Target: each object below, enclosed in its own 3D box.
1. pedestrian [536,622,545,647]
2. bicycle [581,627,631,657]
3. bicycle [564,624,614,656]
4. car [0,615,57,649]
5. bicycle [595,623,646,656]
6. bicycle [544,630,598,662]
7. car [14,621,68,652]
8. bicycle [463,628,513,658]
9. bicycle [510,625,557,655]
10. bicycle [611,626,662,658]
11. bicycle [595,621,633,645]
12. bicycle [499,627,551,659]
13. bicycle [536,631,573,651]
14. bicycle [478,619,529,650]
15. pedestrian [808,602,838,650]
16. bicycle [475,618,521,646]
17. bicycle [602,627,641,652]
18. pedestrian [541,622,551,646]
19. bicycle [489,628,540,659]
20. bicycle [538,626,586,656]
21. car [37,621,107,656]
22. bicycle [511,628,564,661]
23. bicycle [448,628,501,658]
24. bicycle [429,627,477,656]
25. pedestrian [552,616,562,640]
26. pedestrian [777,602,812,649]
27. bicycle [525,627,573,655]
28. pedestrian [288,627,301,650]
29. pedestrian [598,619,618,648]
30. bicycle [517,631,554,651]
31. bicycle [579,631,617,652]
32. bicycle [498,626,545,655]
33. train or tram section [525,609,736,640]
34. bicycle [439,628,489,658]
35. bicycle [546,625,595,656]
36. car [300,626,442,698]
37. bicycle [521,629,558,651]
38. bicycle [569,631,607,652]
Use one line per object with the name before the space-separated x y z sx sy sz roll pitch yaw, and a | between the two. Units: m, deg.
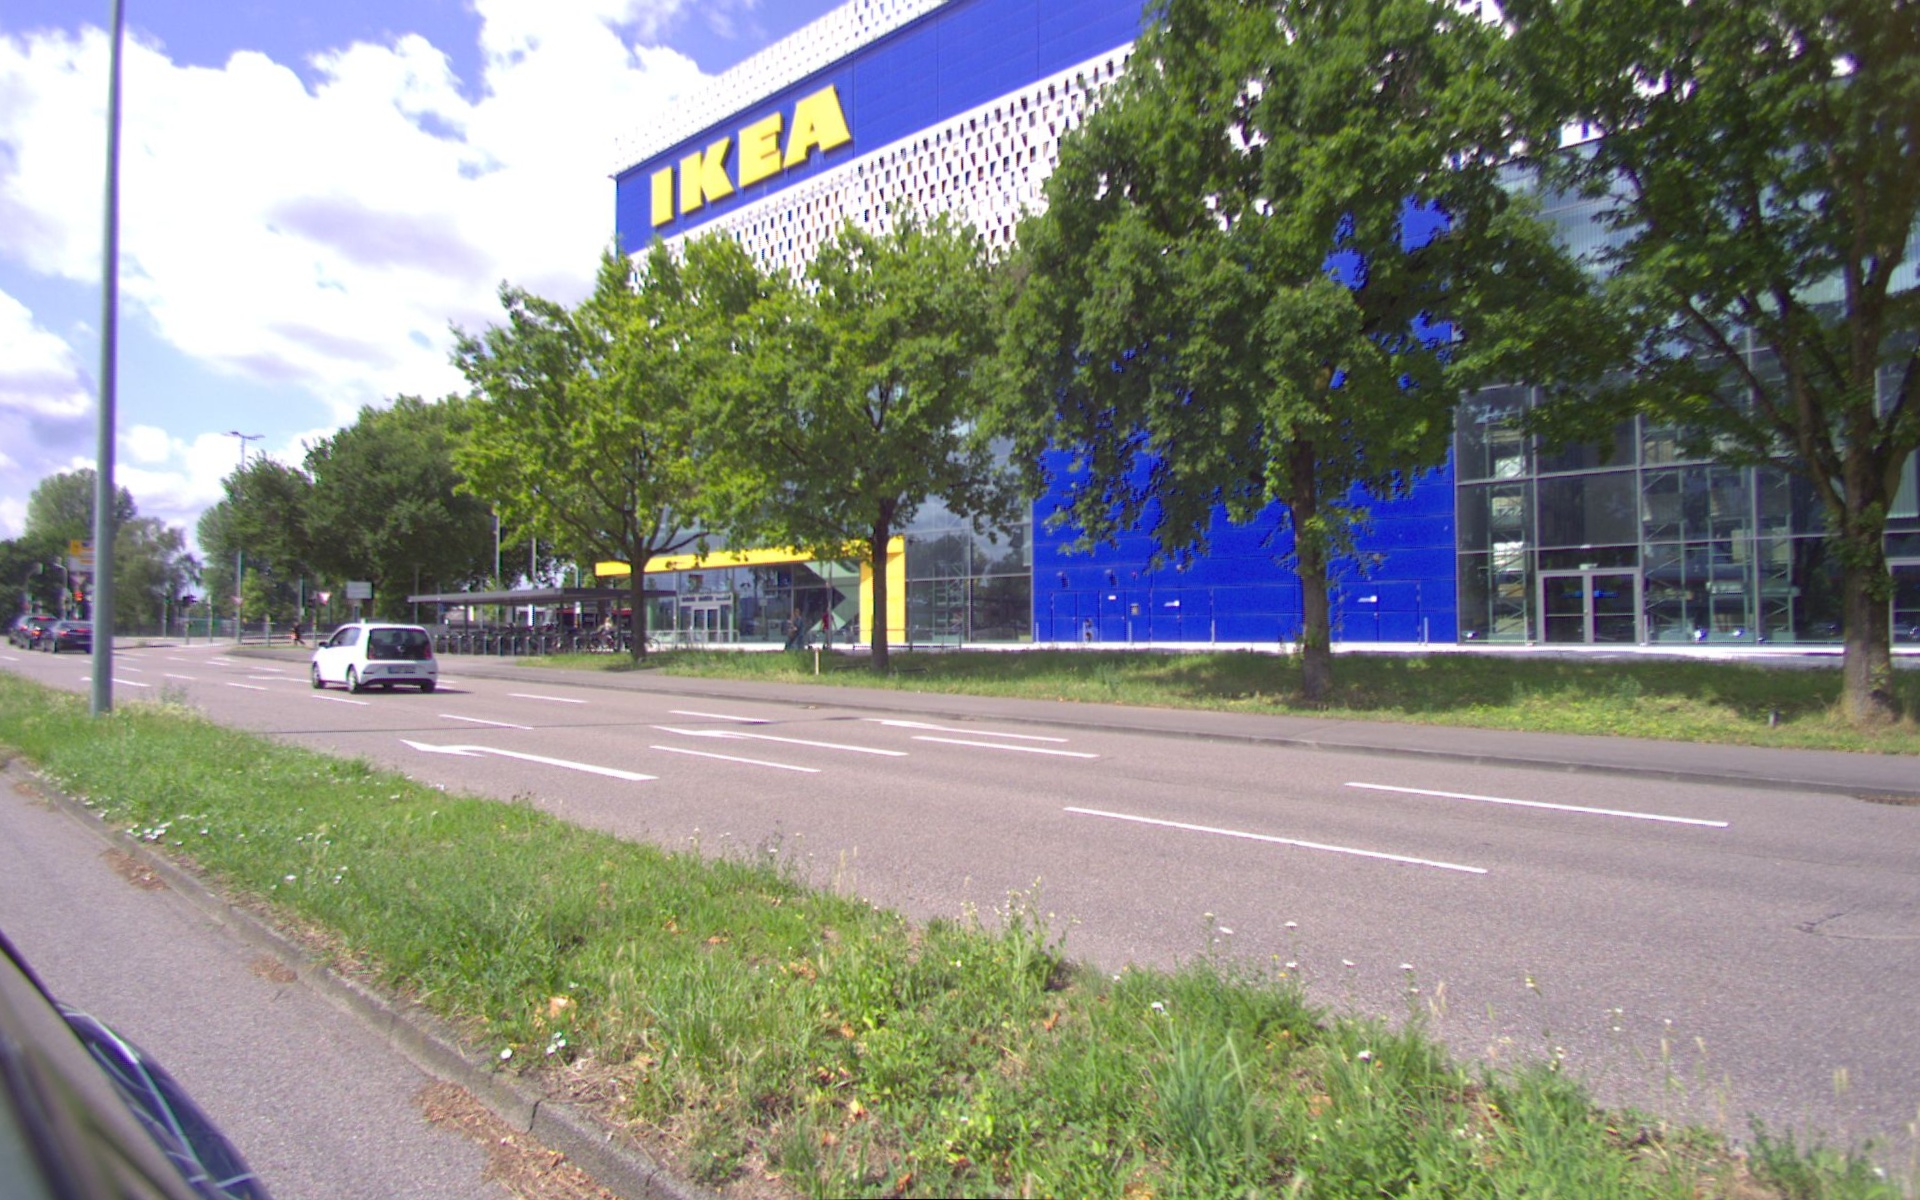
pedestrian | -29.293 2.415 70.735 0.449 1.716 0.399 -2 -2 35
bicycle | -14.613 1.726 41.772 0.629 1.188 1.905 -2 -2 40
bicycle | -15.623 1.674 42.625 0.629 1.282 1.905 -2 -2 40
car | -50.147 1.724 54.427 3.997 1.627 1.752 1 -3 40
bicycle | -13.764 1.591 41.083 0.629 1.282 1.905 -2 -2 40
bicycle | -15.144 1.769 39.419 0.629 1.192 1.905 -2 -2 40
car | -44.221 1.737 48.692 4.094 1.402 1.397 0 -4 41
bicycle | -20.601 1.862 44.193 0.629 1.282 1.905 -2 -2 40
bicycle | -19.279 1.799 45.798 0.629 1.282 1.905 -2 -2 40
bicycle | -12.923 1.673 40.462 0.629 1.193 1.905 -2 -2 40
bicycle | -17.874 1.696 52.372 0.528 1.219 1.916 -1 -1 36
bicycle | -18.000 1.775 41.941 0.629 1.282 1.905 -2 -2 40
bicycle | -22.257 2.239 55.620 0.528 1.078 1.916 -1 -1 36
bicycle | -19.576 1.463 43.428 0.629 1.282 1.905 -2 -2 40
pedestrian | -5.311 1.008 39.149 0.886 1.836 0.746 -1 -1 41
bicycle | -22.011 1.503 48.194 0.629 1.282 1.905 -2 -2 40
bicycle | -17.359 2.000 51.925 0.596 1.253 1.927 -1 -1 36
pedestrian | -28.778 2.365 70.395 0.515 1.716 0.405 -2 -2 35
bicycle | -18.769 1.825 42.688 0.629 1.282 1.905 -2 -2 40
bicycle | -17.413 1.779 44.328 0.629 1.282 1.905 -2 -2 40
car | -39.495 1.704 44.978 4.516 1.432 1.646 0 -3 40
bicycle | -17.048 1.781 40.911 0.629 1.282 1.905 -2 -2 40
bicycle | -21.591 1.896 45.013 0.629 1.282 2.068 -2 -2 40
bicycle | -23.451 1.897 46.810 0.629 1.282 1.905 -2 -2 40
pedestrian | -28.548 1.986 71.624 0.408 1.716 0.522 -2 -2 32
pedestrian | -6.137 0.923 37.577 0.886 1.715 0.940 -1 -1 41
bicycle | -18.224 1.818 44.918 0.629 1.192 1.905 -2 -2 40
pedestrian | -43.567 2.539 66.243 0.616 1.502 0.435 -1 -1 24
pedestrian | -20.998 1.988 60.335 0.710 1.719 0.886 -1 -1 40
bicycle | -23.800 2.303 56.733 0.528 1.078 1.917 -1 -1 35
bicycle | -19.062 2.170 53.336 0.528 1.078 1.916 -1 -1 36
bicycle | -20.241 1.862 46.706 0.629 1.282 1.905 -2 -2 40
train or tram section | -37.183 2.978 116.945 4.525 3.055 24.799 -2 -3 39
bicycle | -22.367 1.943 45.656 0.629 1.282 1.905 -2 -2 40
bicycle | -16.740 1.719 43.564 0.629 1.282 1.905 -2 -2 40
car | -12.943 1.305 22.181 3.669 1.440 1.625 -1 -3 42
bicycle | -23.117 2.185 55.708 0.467 1.181 1.938 -2 -2 36
bicycle | -19.806 2.211 53.947 0.519 1.098 1.912 -2 -2 36
